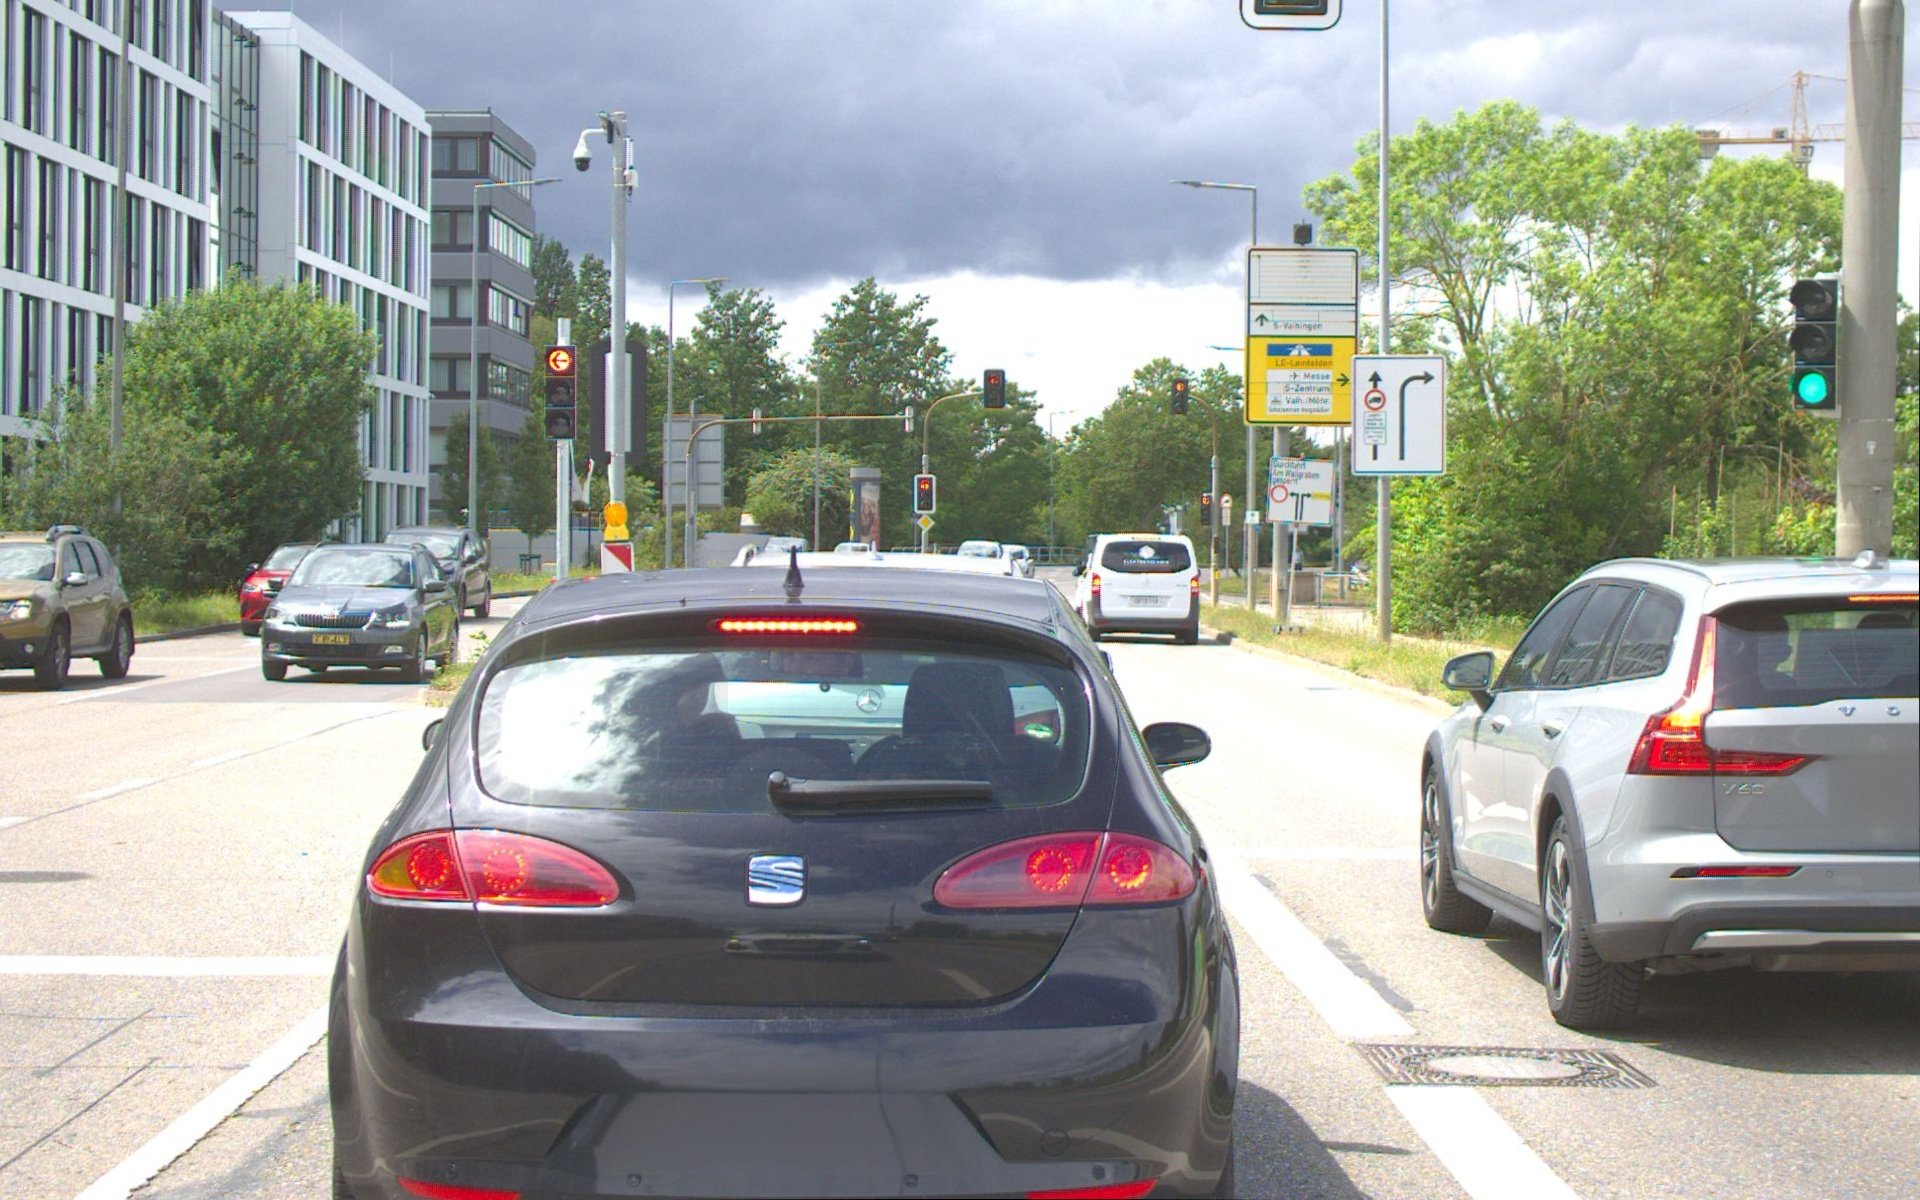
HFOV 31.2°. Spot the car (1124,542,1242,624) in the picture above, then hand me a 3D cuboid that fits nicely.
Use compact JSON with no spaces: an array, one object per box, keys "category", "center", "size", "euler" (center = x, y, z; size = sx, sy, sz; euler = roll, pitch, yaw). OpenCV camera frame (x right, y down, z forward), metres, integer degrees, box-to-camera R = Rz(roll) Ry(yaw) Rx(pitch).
[{"category":"car","center":[4.084,-0.318,63.492],"size":[1.845,1.456,4.056],"euler":[0,0,-1]}]

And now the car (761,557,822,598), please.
[{"category":"car","center":[-5.874,-0.788,120.313],"size":[1.993,1.404,4.000],"euler":[0,0,-1]}]

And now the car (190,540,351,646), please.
[{"category":"car","center":[-10.770,-0.118,53.919],"size":[1.776,1.606,4.000],"euler":[0,0,-1]}]

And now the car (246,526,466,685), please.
[{"category":"car","center":[-6.476,0.011,37.228],"size":[1.668,1.519,4.008],"euler":[-2,2,-1]}]

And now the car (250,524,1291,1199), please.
[{"category":"car","center":[-0.237,0.618,7.851],"size":[1.748,1.479,4.000],"euler":[2,0,3]}]

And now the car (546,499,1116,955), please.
[{"category":"car","center":[-0.502,0.431,14.214],"size":[1.983,1.585,4.226],"euler":[1,0,-1]}]

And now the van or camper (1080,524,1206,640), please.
[{"category":"van or camper","center":[3.107,-0.313,59.040],"size":[1.899,1.919,4.000],"euler":[0,0,0]}]

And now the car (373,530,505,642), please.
[{"category":"car","center":[-9.665,-0.263,64.031],"size":[1.993,2.007,4.482],"euler":[0,0,-3]}]

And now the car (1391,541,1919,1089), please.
[{"category":"car","center":[2.766,0.581,11.829],"size":[1.958,1.520,4.340],"euler":[-1,0,0]}]

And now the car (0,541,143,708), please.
[{"category":"car","center":[-9.831,0.224,35.674],"size":[1.751,1.625,4.000],"euler":[-1,1,-1]}]

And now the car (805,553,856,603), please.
[{"category":"car","center":[-5.287,-0.914,141.175],"size":[1.993,2.007,4.000],"euler":[0,0,-1]}]
